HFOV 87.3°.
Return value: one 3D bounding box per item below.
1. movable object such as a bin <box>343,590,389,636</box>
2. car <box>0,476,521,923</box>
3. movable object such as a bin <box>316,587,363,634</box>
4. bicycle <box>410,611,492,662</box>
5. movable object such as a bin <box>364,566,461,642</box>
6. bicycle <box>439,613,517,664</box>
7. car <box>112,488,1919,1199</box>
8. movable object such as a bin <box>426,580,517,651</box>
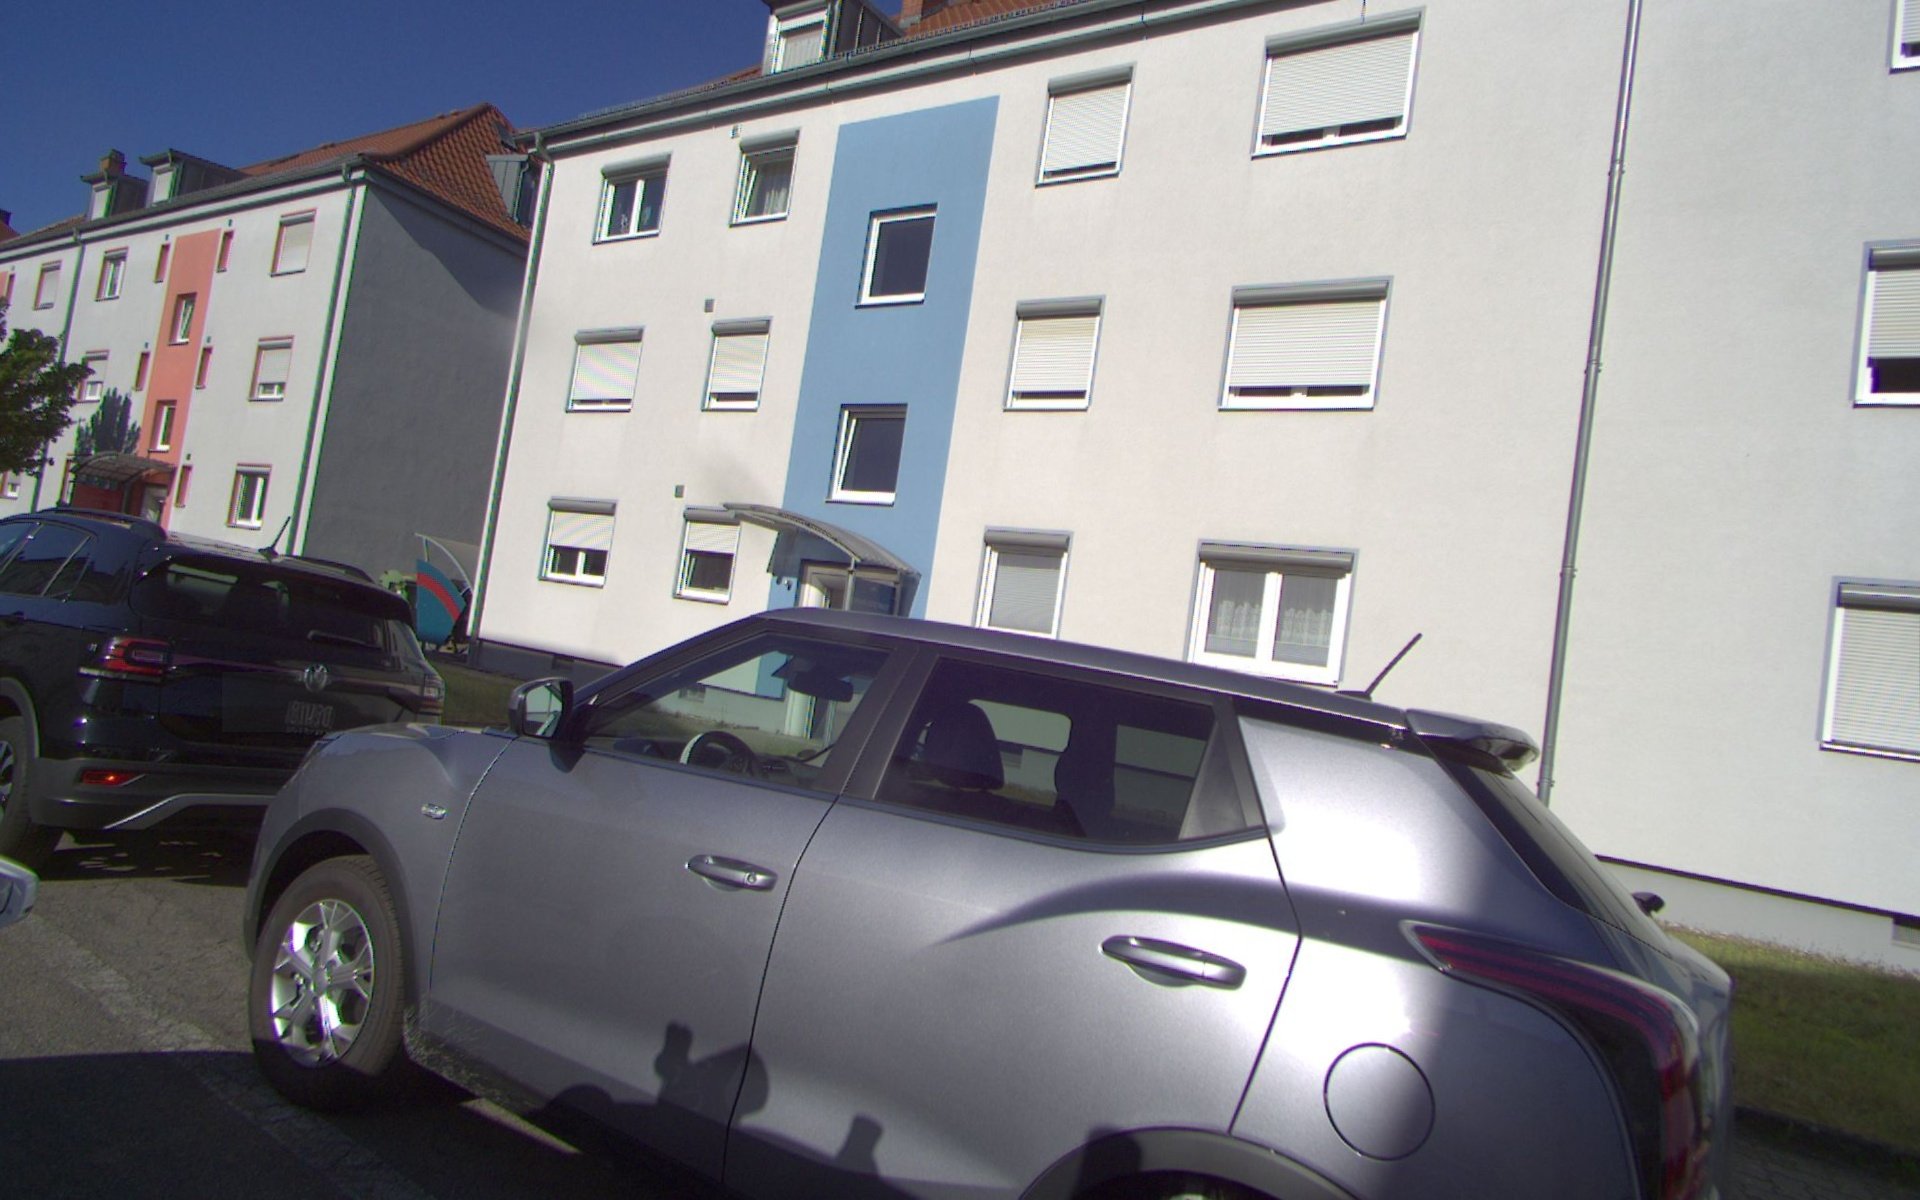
[{"bbox_3d":[-12.946,0.288,21.933,0.622,0.896,0.524,7,-3,31],"label":"movable object such as a bin"},{"bbox_3d":[-4.672,0.311,5.552,4.324,1.610,1.719,7,-6,31],"label":"car"},{"bbox_3d":[-13.240,0.228,21.462,0.622,0.896,0.524,7,-3,31],"label":"movable object such as a bin"},{"bbox_3d":[-9.927,0.709,19.607,1.838,0.748,0.454,6,-2,32],"label":"bicycle"},{"bbox_3d":[-12.356,0.103,22.718,1.168,1.431,1.364,7,-3,31],"label":"movable object such as a bin"},{"bbox_3d":[-9.566,0.750,19.941,1.751,0.776,0.454,6,-2,32],"label":"bicycle"},{"bbox_3d":[-0.219,0.823,2.896,4.375,1.633,1.758,7,-6,29],"label":"car"},{"bbox_3d":[-11.648,0.376,24.010,1.168,1.431,1.364,7,-3,31],"label":"movable object such as a bin"}]
